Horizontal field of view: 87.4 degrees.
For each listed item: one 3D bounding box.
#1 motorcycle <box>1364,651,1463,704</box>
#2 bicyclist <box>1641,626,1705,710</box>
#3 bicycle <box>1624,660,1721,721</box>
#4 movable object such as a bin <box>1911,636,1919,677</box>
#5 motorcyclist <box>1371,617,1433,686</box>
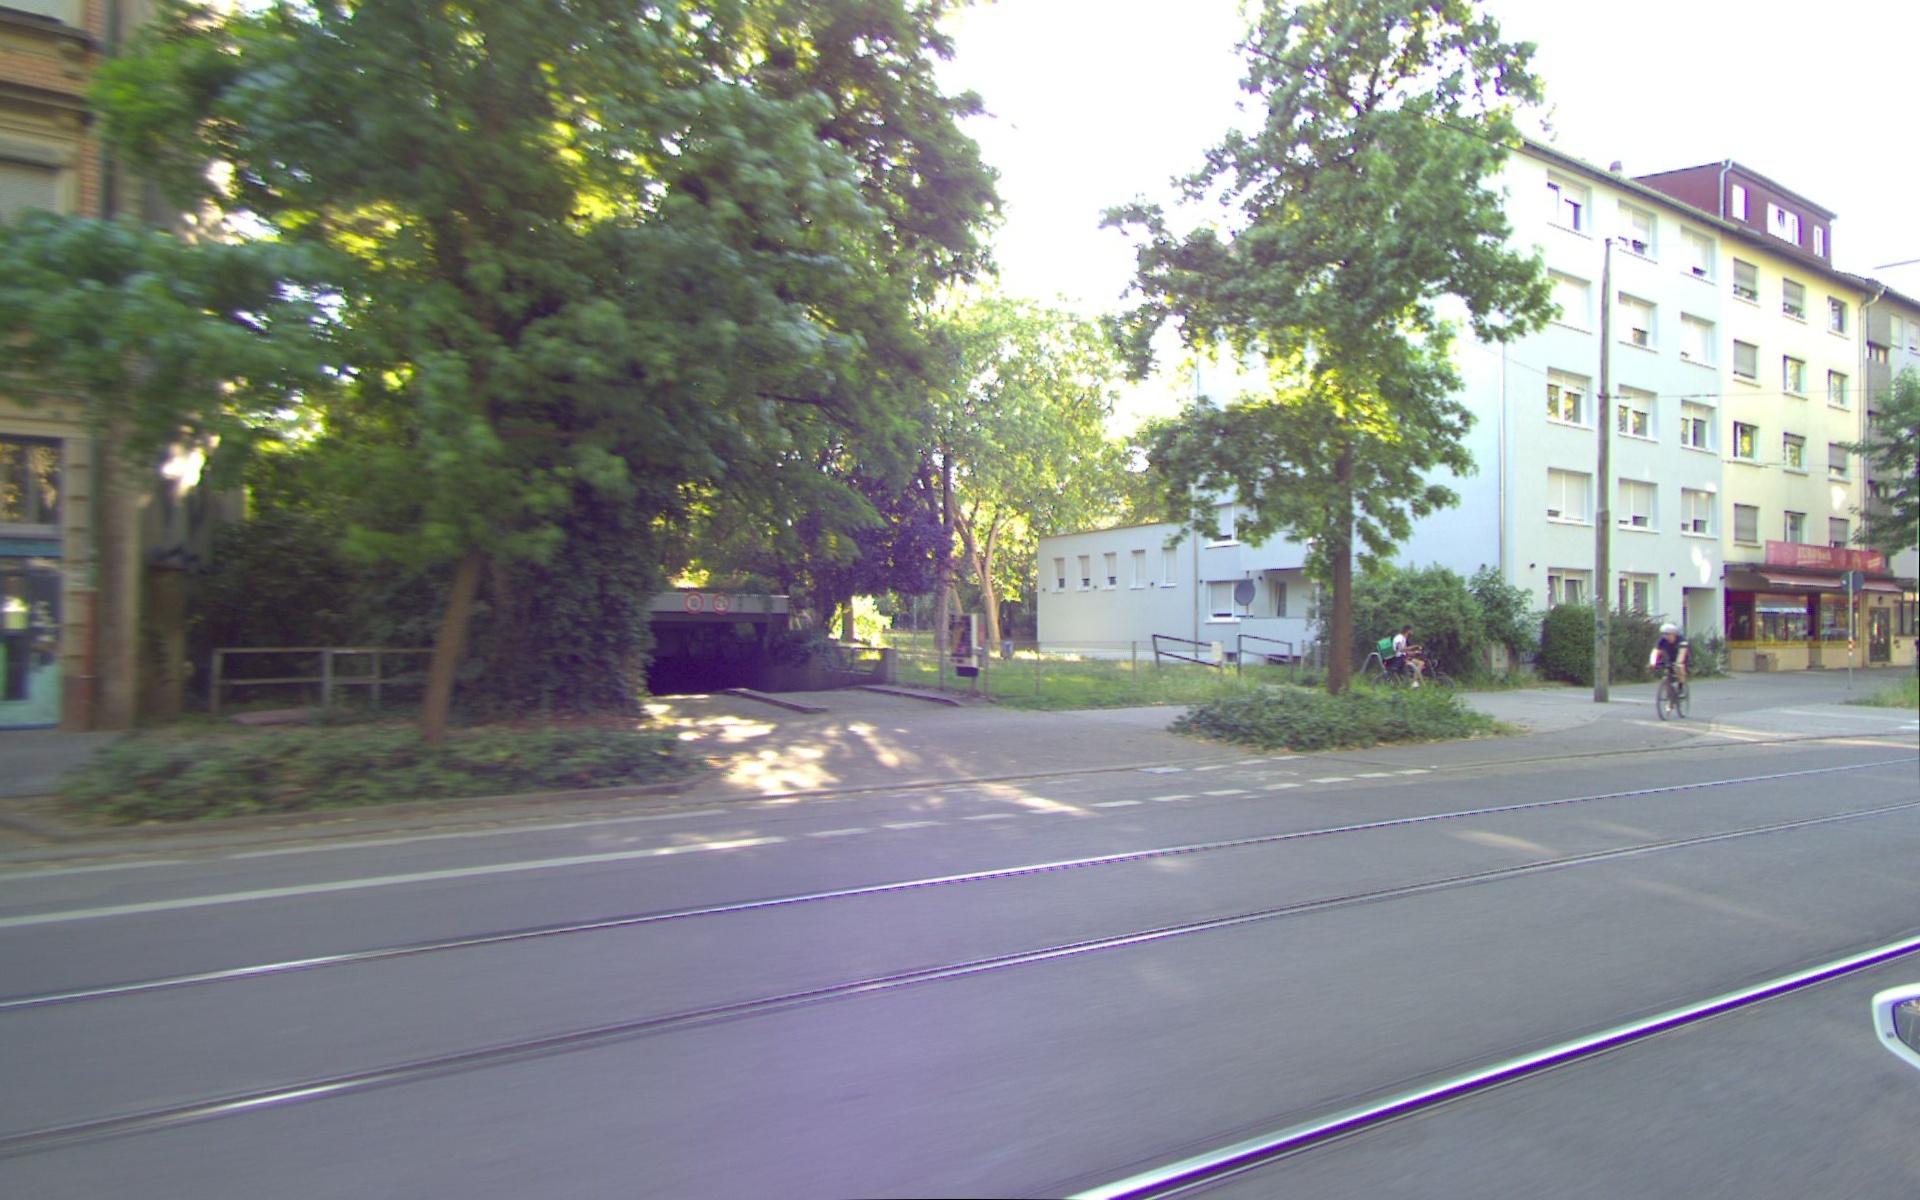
[{"bbox_3d":[9.723,1.642,21.583,0.593,1.046,1.852,2,-2,-45],"label":"motorcycle"},{"bbox_3d":[12.836,1.207,18.093,0.827,1.474,0.638,1,-2,-31],"label":"bicyclist"},{"bbox_3d":[12.838,1.603,18.070,2.077,1.000,0.638,1,-2,-31],"label":"bicycle"},{"bbox_3d":[32.985,1.942,33.858,0.775,1.366,1.162,1,2,-34],"label":"movable object such as a bin"},{"bbox_3d":[9.565,1.104,21.754,1.089,1.468,0.593,-1,-2,45],"label":"motorcyclist"}]
